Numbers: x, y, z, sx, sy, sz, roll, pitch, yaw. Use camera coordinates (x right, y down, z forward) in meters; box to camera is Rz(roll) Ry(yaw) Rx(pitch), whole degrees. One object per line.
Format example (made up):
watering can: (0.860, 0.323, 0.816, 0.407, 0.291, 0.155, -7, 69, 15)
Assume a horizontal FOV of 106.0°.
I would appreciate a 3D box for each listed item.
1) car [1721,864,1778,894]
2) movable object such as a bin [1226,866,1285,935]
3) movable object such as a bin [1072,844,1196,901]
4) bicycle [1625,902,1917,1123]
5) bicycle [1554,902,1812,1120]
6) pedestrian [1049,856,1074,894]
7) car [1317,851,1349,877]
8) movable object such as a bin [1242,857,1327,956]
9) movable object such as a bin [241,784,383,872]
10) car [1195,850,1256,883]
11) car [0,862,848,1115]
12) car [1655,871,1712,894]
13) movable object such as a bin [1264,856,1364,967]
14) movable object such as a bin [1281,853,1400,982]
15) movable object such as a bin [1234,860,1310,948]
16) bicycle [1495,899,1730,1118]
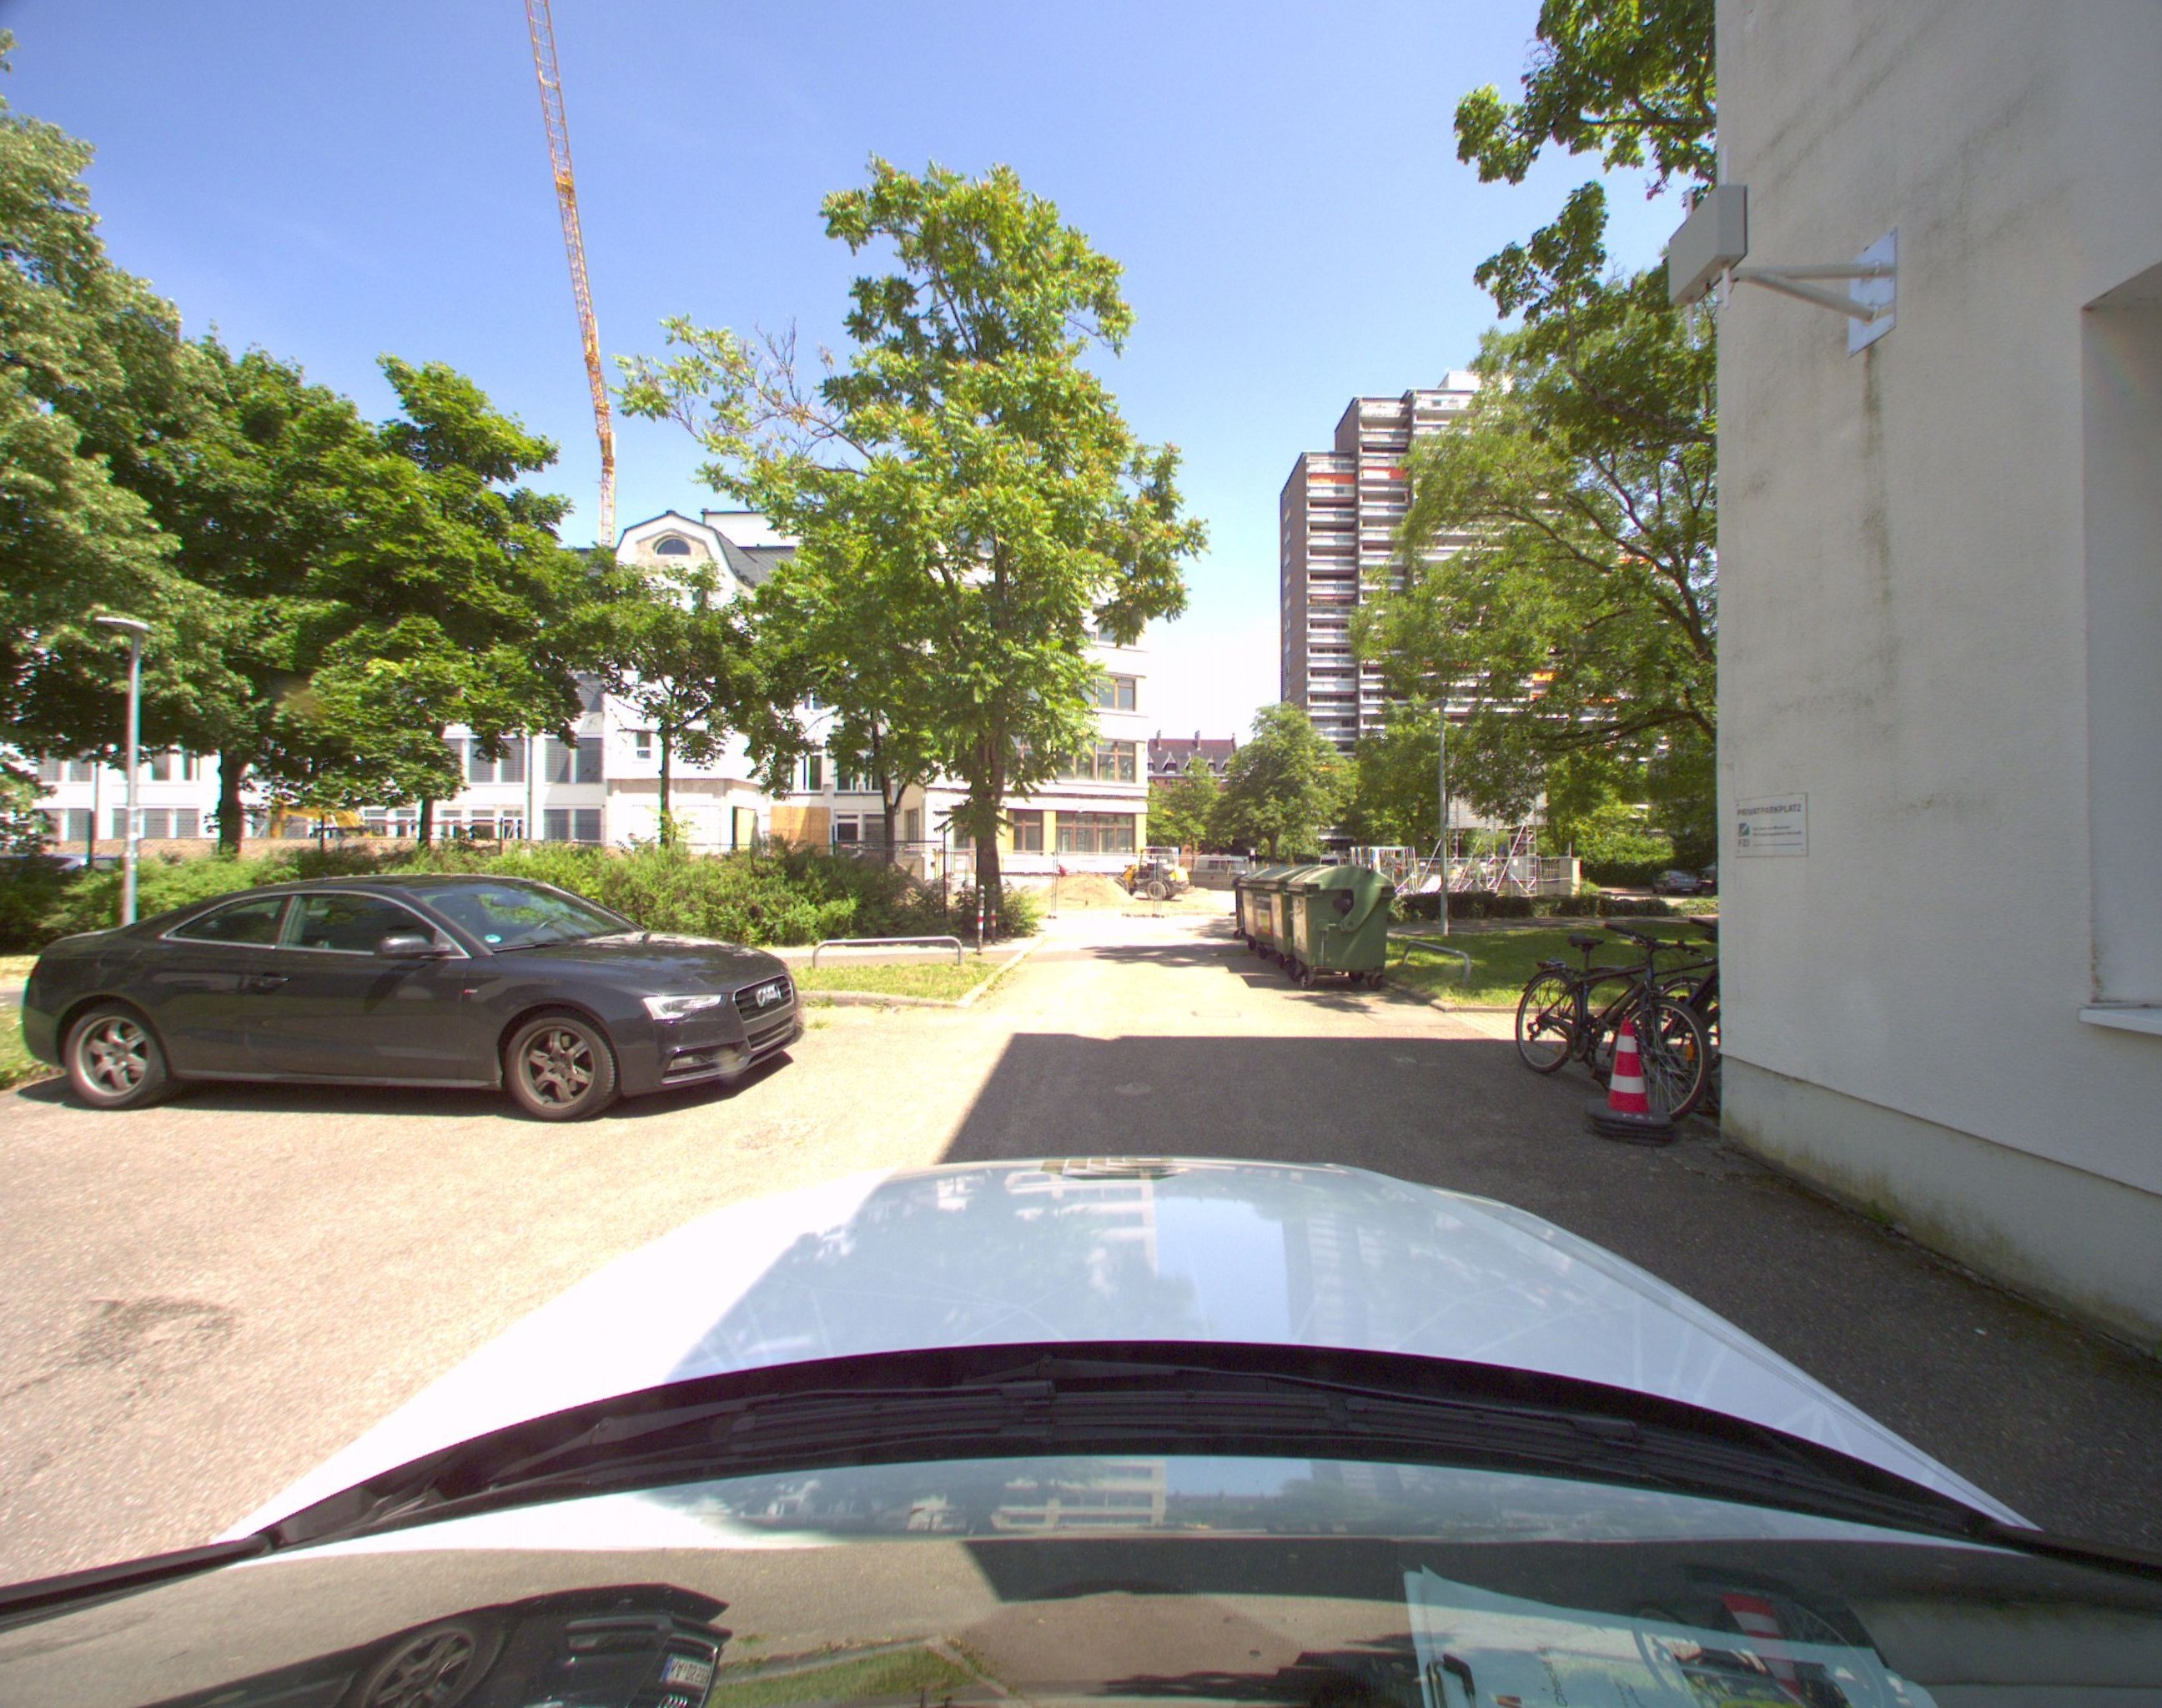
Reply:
car: (37.271, 1.373, 45.497, 1.992, 1.630, 3.955, -1, -2, 33)
movable object such as a bin: (3.781, 0.986, 17.748, 1.071, 1.458, 1.378, 0, -1, 4)
movable object such as a bin: (2.535, 0.841, 39.040, 5.352, 2.464, 2.382, 1, -1, 30)
bicycle: (4.289, 0.898, 5.261, 0.403, 1.102, 1.827, 0, -1, 3)
bicycle: (3.777, 0.900, 5.312, 0.403, 1.102, 1.827, 0, -1, 3)
pedestrian: (-0.947, 1.028, 39.624, 0.906, 1.847, 0.991, -1, -2, 21)
car: (23.006, 0.912, 74.296, 2.164, 2.258, 4.896, -1, -1, 24)
movable object such as a bin: (3.175, 0.796, 12.839, 1.071, 1.458, 1.378, 0, -1, 4)
movable object such as a bin: (-39.404, -1.254, 41.804, 5.675, 4.373, 2.003, 0, -1, 6)
car: (11.067, 0.961, 62.786, 2.004, 2.416, 5.198, 1, -1, -26)
car: (-4.149, 0.762, 5.634, 4.408, 1.380, 2.026, 0, -1, 4)
car: (35.561, 1.656, 48.161, 1.897, 1.310, 3.952, -1, -1, 24)
movable object such as a bin: (3.206, 0.765, 11.364, 1.071, 1.458, 1.378, 0, -1, 4)
movable object such as a bin: (3.109, 0.735, 9.923, 1.071, 1.458, 1.378, 0, -1, 4)
movable object such as a bin: (3.308, 0.841, 14.257, 1.071, 1.458, 1.378, 0, -1, 4)
bicycle: (3.308, 0.877, 5.278, 0.403, 1.102, 1.827, 0, -1, 3)
